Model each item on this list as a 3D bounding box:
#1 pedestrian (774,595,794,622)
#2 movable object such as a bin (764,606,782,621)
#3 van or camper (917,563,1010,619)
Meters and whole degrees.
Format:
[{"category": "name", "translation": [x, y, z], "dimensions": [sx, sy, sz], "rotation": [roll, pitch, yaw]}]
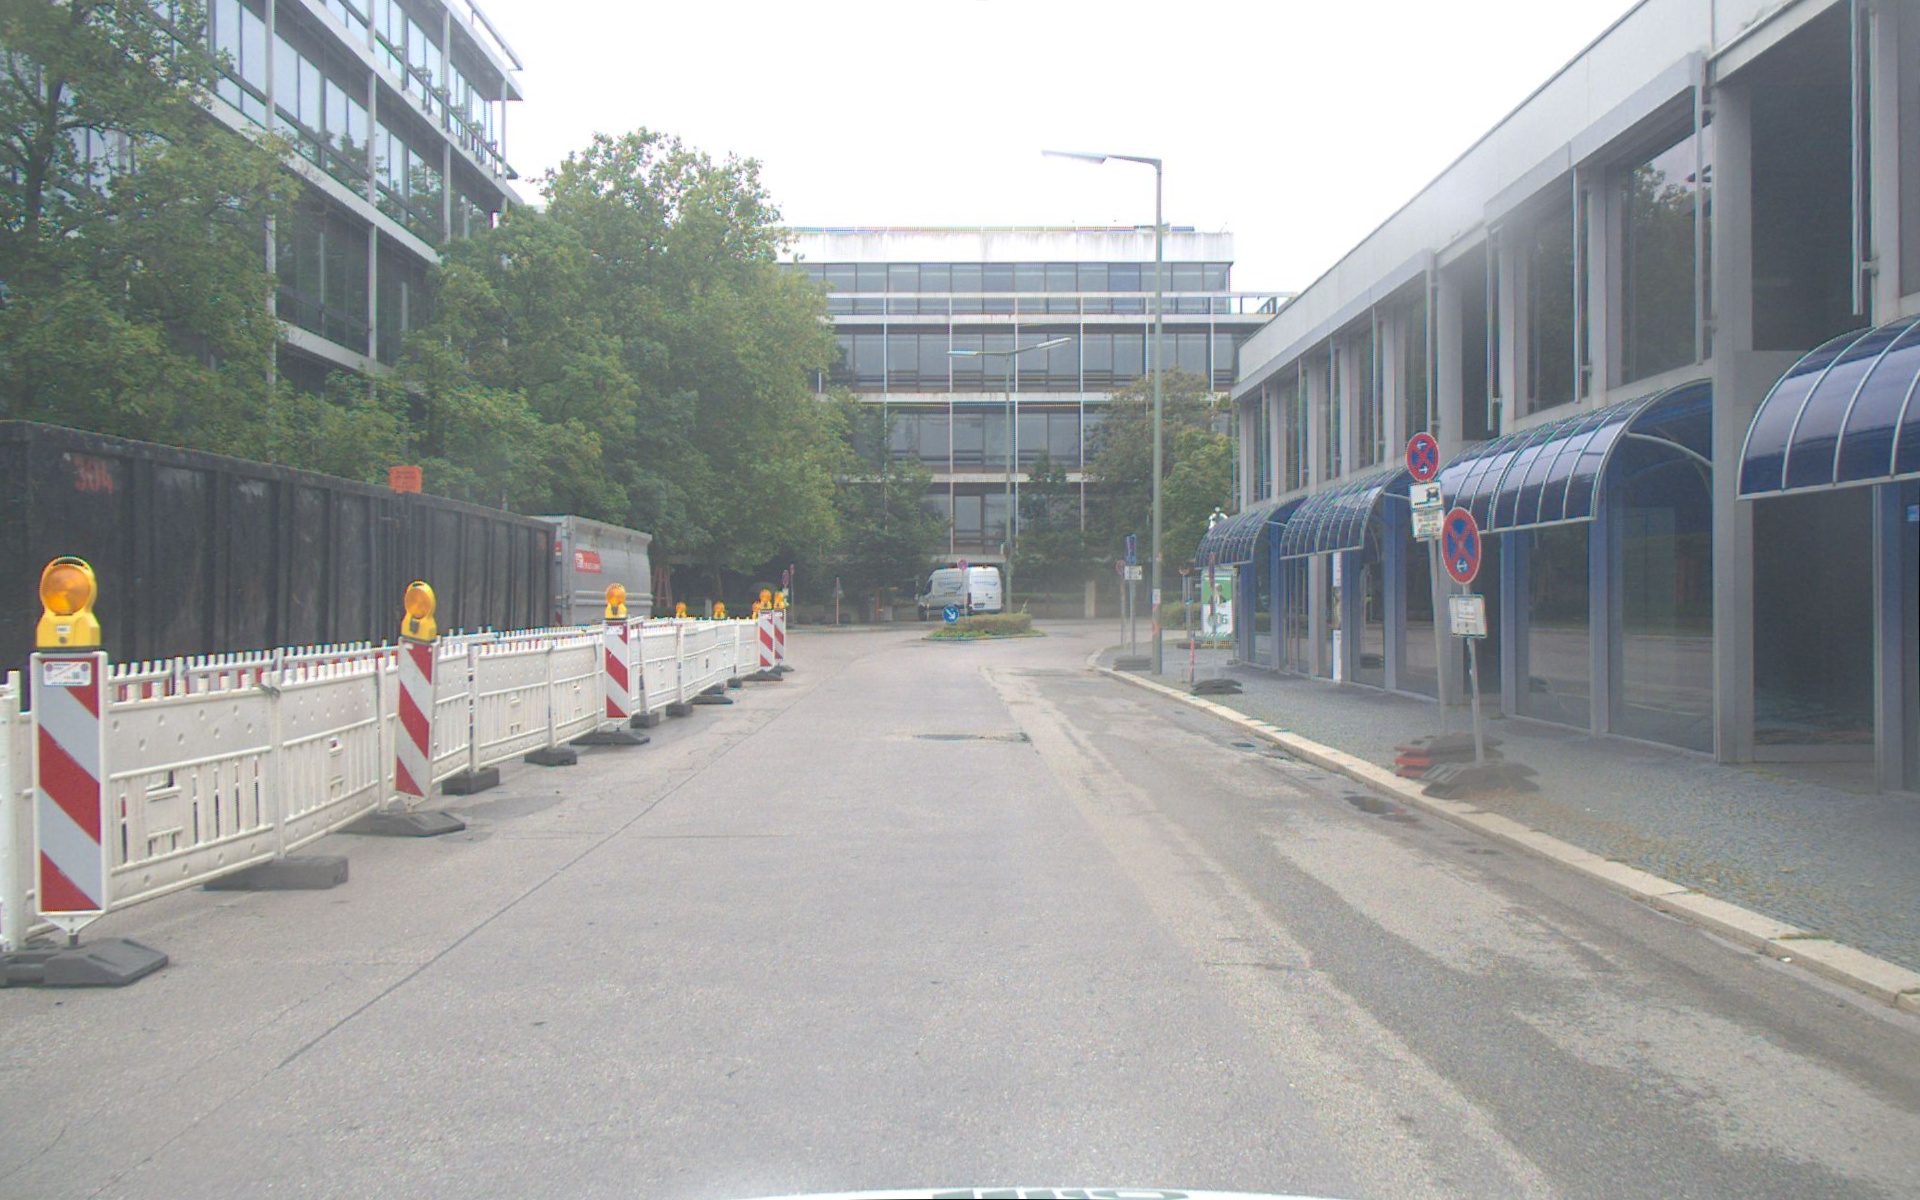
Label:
[{"category": "pedestrian", "translation": [-8.774, 0.423, 82.532], "dimensions": [0.907, 1.300, 0.542], "rotation": [0, 0, 1]}, {"category": "movable object such as a bin", "translation": [-9.329, 0.679, 82.489], "dimensions": [0.817, 0.766, 0.572], "rotation": [0, 0, 2]}, {"category": "van or camper", "translation": [0.108, -0.414, 84.804], "dimensions": [2.129, 2.626, 6.484], "rotation": [0, -1, -26]}]
